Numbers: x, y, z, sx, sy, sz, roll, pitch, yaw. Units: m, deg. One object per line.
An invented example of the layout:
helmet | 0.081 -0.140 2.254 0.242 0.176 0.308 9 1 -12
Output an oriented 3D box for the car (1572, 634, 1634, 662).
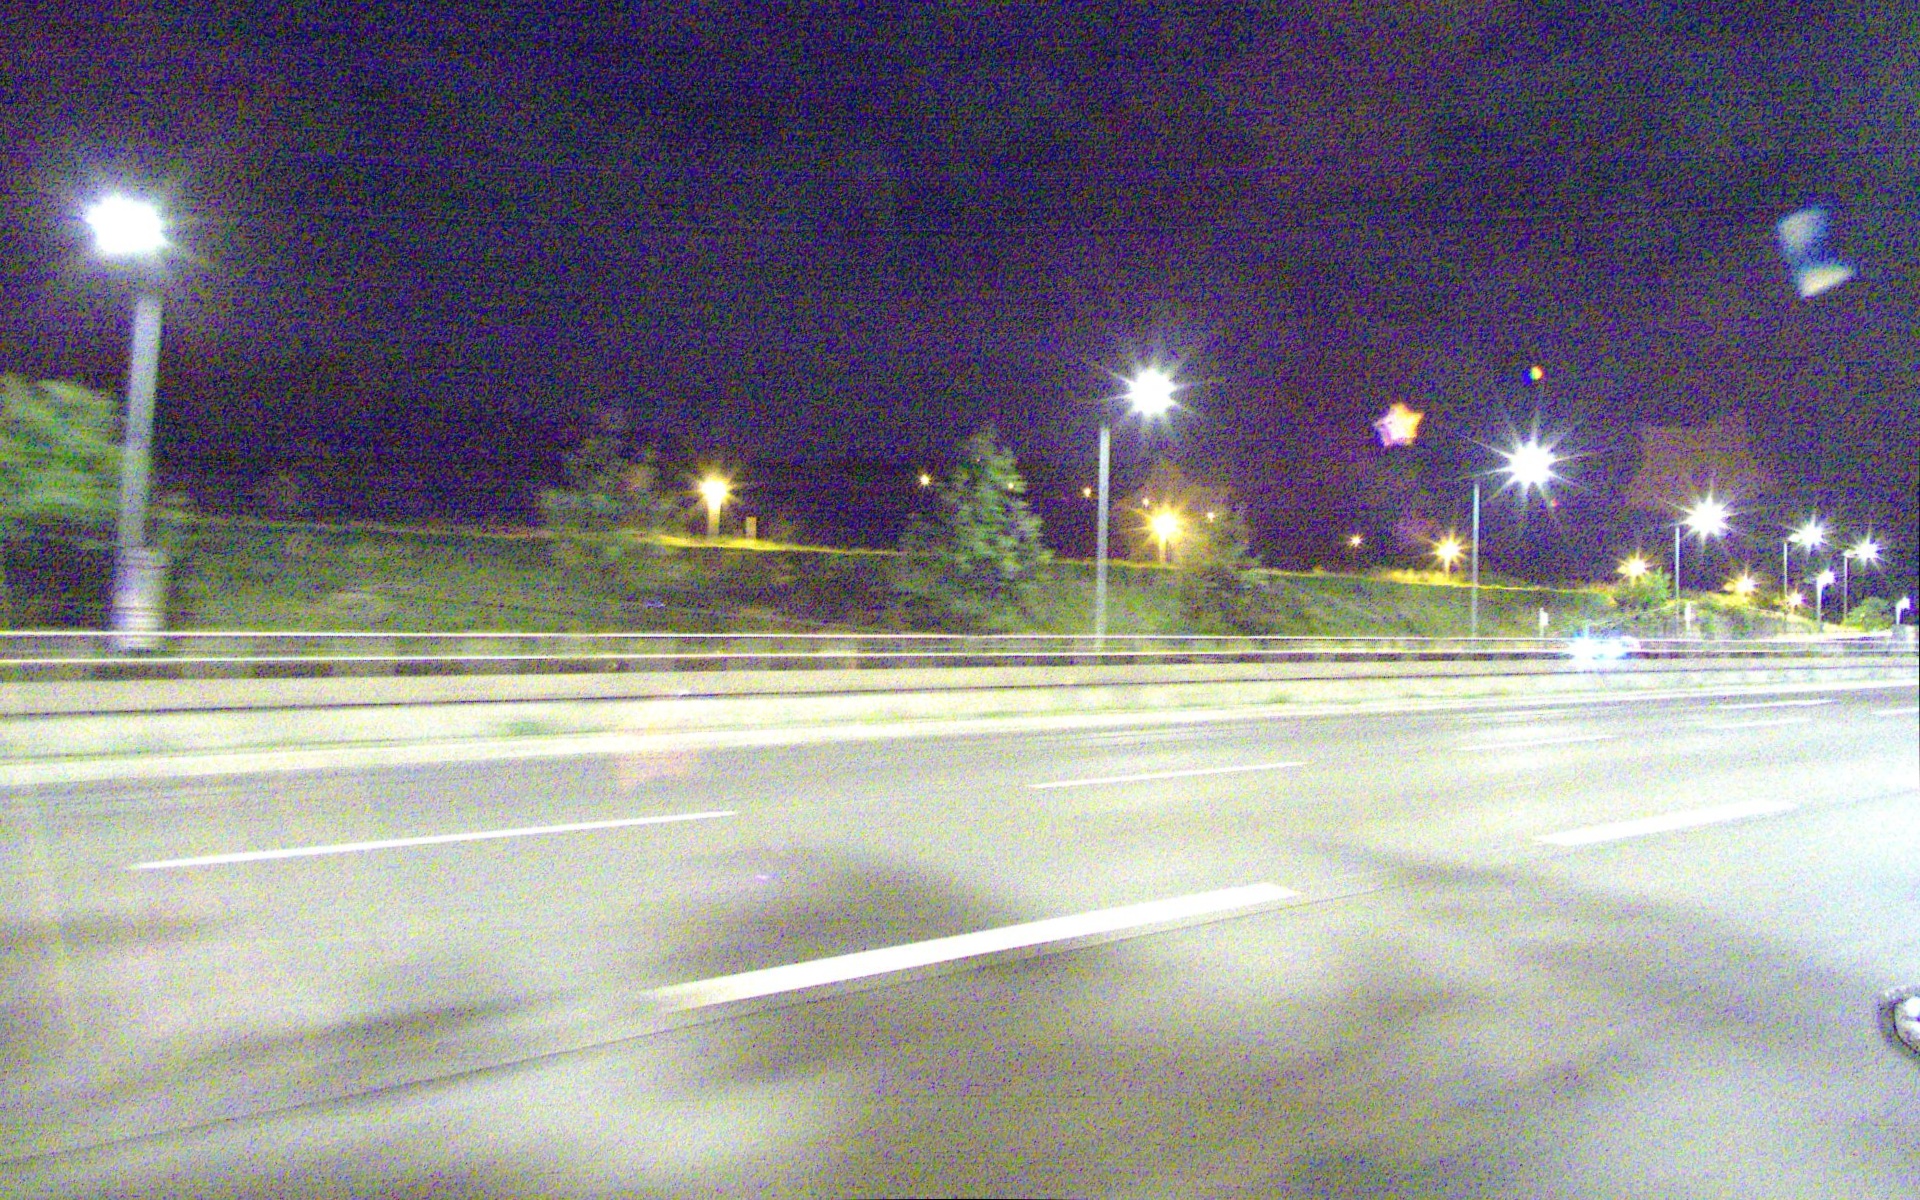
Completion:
car | 38.387 2.880 59.971 3.635 1.500 1.618 3 -1 -29
